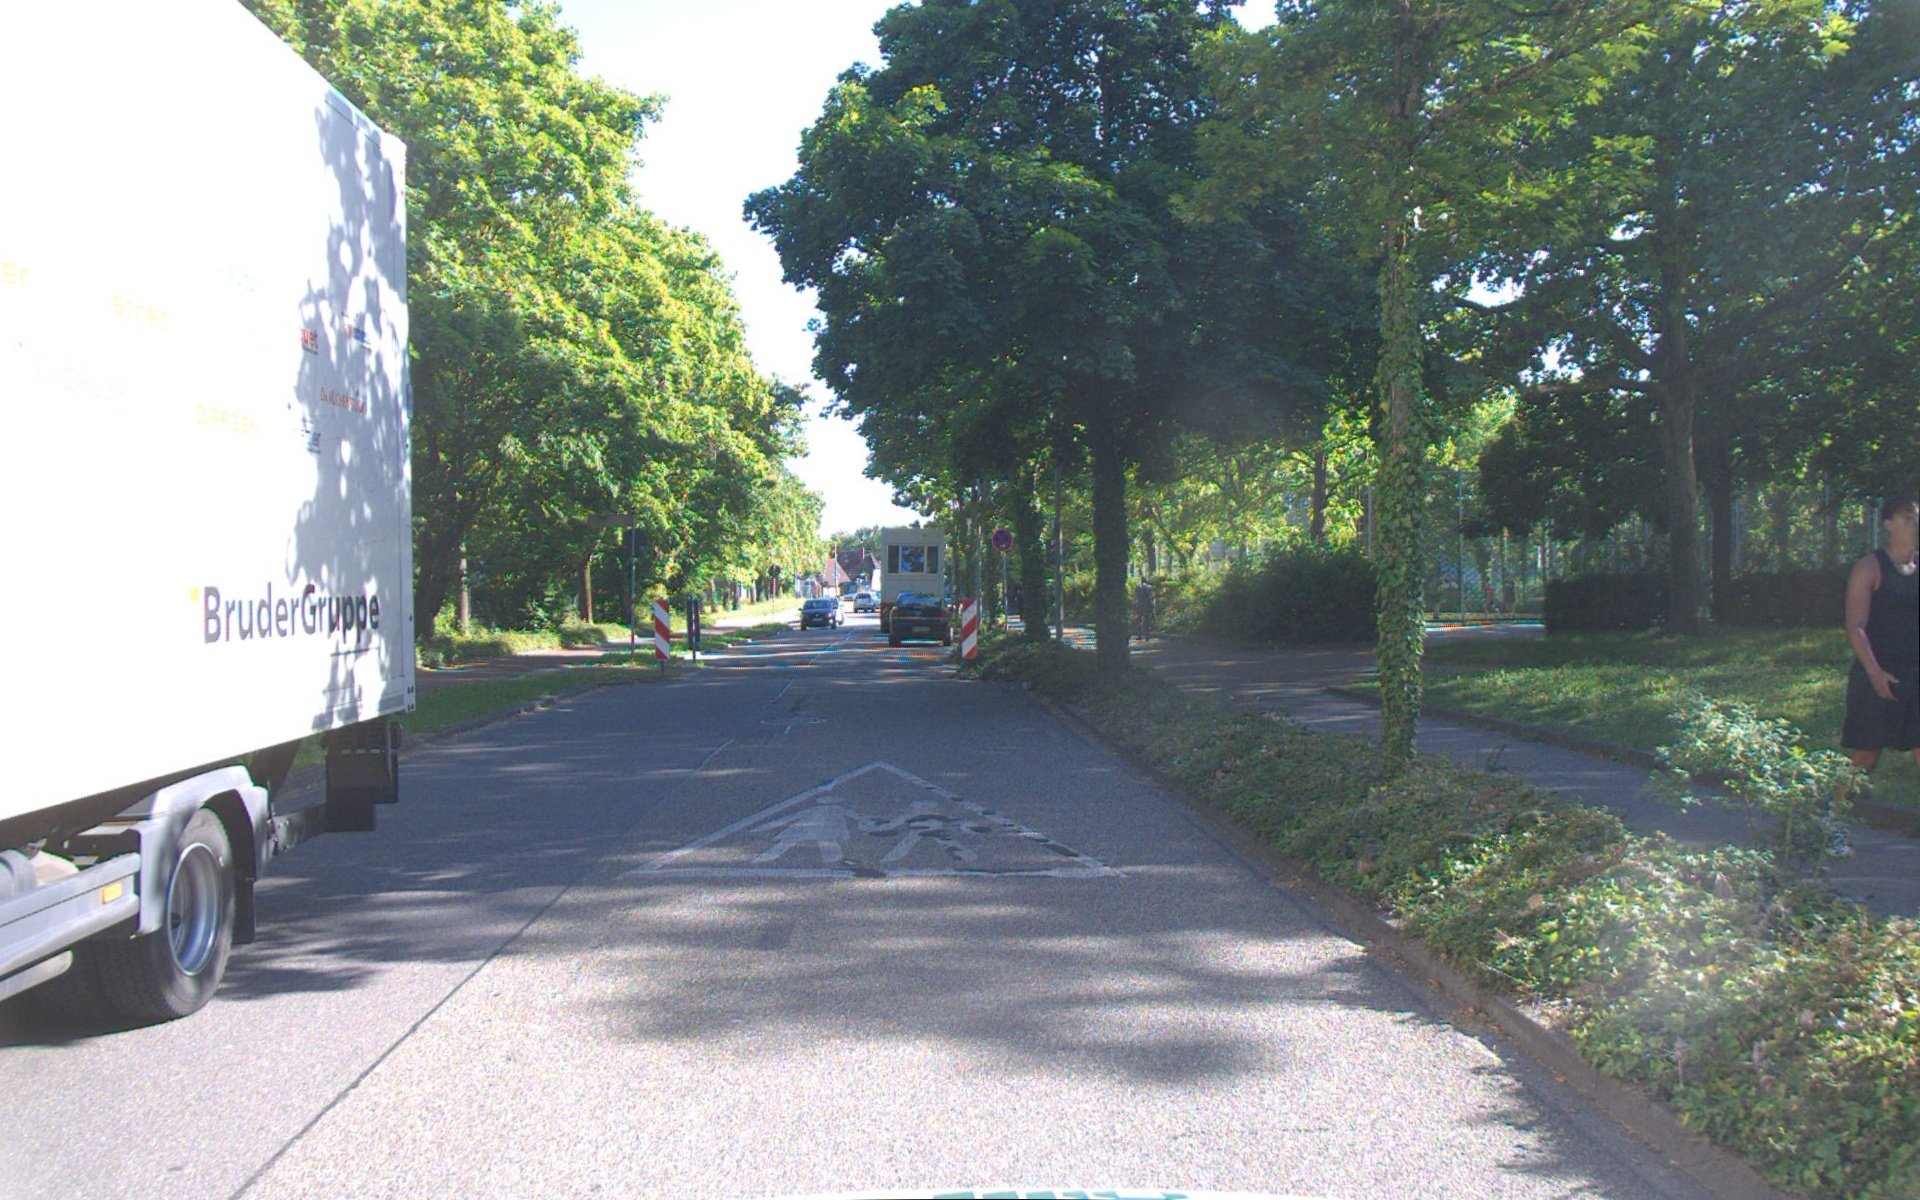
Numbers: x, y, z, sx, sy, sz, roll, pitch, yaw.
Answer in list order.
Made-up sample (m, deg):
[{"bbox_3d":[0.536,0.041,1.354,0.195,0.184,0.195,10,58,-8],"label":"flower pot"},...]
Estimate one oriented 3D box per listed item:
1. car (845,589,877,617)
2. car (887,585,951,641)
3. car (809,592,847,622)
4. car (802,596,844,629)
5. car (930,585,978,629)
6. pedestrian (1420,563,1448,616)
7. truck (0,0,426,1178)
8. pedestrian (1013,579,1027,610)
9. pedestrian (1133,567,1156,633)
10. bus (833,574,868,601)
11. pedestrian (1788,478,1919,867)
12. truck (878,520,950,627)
[{"bbox_3d":[-7.632,0.197,127.407,1.952,2.049,4.002,-1,1,3],"label":"car"},{"bbox_3d":[-1.123,0.366,46.531,1.713,1.506,4.030,0,0,-1],"label":"car"},{"bbox_3d":[-6.992,0.339,88.007,1.720,1.479,4.242,-2,1,-1],"label":"car"},{"bbox_3d":[-6.501,0.562,78.524,1.568,1.451,3.652,-2,1,1],"label":"car"},{"bbox_3d":[-0.219,0.236,59.098,1.606,1.445,4.000,-2,0,0],"label":"car"},{"bbox_3d":[14.609,-0.321,51.018,0.684,1.639,0.699,1,0,28],"label":"pedestrian"},{"bbox_3d":[-3.856,-0.336,4.289,2.680,3.705,8.096,0,0,-3],"label":"truck"},{"bbox_3d":[3.172,-0.292,87.659,0.586,1.639,0.599,-2,0,-6],"label":"pedestrian"},{"bbox_3d":[4.635,-0.003,41.559,0.559,1.636,0.672,0,0,7],"label":"pedestrian"},{"bbox_3d":[-14.744,-1.685,223.155,3.982,3.407,9.800,-2,0,0],"label":"bus"},{"bbox_3d":[4.712,0.341,8.289,0.775,1.864,0.671,0,0,-3],"label":"pedestrian"},{"bbox_3d":[-2.021,-1.041,68.668,2.717,4.066,10.342,0,0,-3],"label":"truck"}]
